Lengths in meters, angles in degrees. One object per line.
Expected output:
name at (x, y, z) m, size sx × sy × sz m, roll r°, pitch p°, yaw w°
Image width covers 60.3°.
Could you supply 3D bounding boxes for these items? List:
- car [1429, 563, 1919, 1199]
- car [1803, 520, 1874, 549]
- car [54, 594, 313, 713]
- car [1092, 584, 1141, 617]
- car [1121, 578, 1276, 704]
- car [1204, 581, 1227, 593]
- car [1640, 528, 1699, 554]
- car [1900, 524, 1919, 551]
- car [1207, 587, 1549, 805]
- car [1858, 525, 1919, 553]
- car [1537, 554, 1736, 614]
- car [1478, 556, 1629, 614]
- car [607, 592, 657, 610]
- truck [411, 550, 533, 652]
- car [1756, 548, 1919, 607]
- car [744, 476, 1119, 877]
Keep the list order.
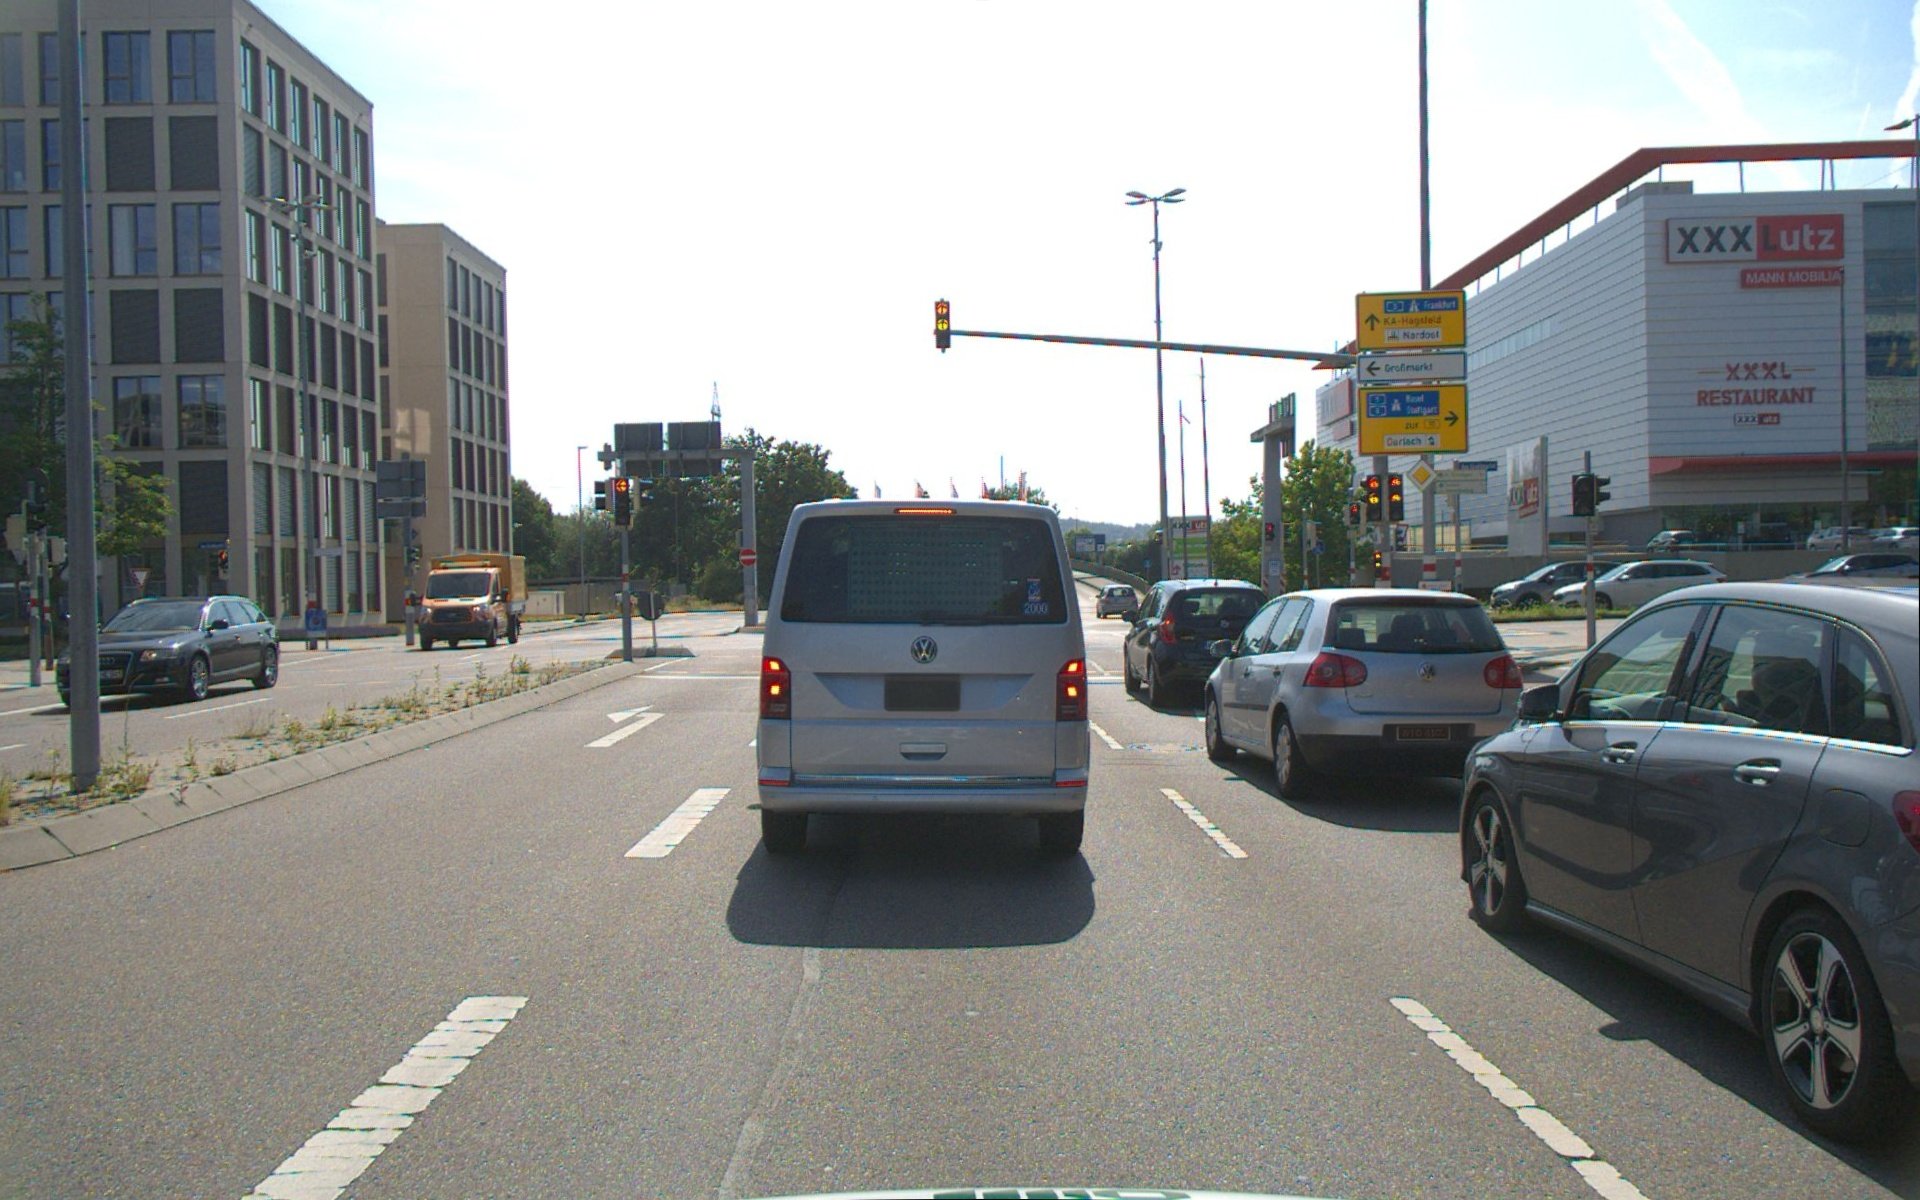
car at (3.185, 0.656, 5.925) m, size 1.738 × 1.566 × 4.137 m, roll -1°, pitch 1°, yaw -2°
car at (49.023, -3.649, 92.336) m, size 1.762 × 1.444 × 4.007 m, roll -1°, pitch 1°, yaw -1°
car at (-11.597, 0.721, 25.094) m, size 1.810 × 1.485 × 4.662 m, roll -4°, pitch 1°, yaw -2°
car at (7.164, 0.013, 76.086) m, size 1.502 × 1.463 × 3.241 m, roll -2°, pitch 1°, yaw -8°
car at (3.026, 0.467, 21.536) m, size 1.499 × 1.505 × 3.596 m, roll 0°, pitch 1°, yaw 0°
car at (34.127, -1.750, 220.755) m, size 1.957 × 1.445 × 3.991 m, roll 1°, pitch 0°, yaw -9°
car at (41.814, -3.462, 97.569) m, size 1.734 × 1.444 × 4.201 m, roll -1°, pitch 1°, yaw 2°
car at (54.458, -3.515, 92.218) m, size 1.833 × 1.444 × 4.201 m, roll -1°, pitch 1°, yaw 2°
car at (3.080, 0.628, 12.937) m, size 1.633 × 1.439 × 3.681 m, roll 0°, pitch 1°, yaw -2°
car at (51.715, -3.367, 91.615) m, size 1.794 × 1.444 × 4.201 m, roll -1°, pitch 1°, yaw 2°
car at (18.520, -0.430, 45.429) m, size 4.618 × 1.450 × 1.959 m, roll -2°, pitch -1°, yaw 2°
car at (17.347, -0.433, 48.469) m, size 3.803 × 1.585 × 1.809 m, roll -1°, pitch 0°, yaw 3°
car at (-28.716, 0.054, 144.716) m, size 4.039 × 1.445 × 1.718 m, roll -1°, pitch -1°, yaw -20°
truck at (-13.942, -0.012, 47.722) m, size 2.331 × 2.670 × 6.661 m, roll -2°, pitch 1°, yaw -8°
car at (25.476, -0.638, 47.860) m, size 3.945 × 1.535 × 1.909 m, roll -2°, pitch -1°, yaw 2°
car at (-0.173, 0.362, 10.453) m, size 1.878 × 2.010 × 4.296 m, roll 0°, pitch 1°, yaw -1°
